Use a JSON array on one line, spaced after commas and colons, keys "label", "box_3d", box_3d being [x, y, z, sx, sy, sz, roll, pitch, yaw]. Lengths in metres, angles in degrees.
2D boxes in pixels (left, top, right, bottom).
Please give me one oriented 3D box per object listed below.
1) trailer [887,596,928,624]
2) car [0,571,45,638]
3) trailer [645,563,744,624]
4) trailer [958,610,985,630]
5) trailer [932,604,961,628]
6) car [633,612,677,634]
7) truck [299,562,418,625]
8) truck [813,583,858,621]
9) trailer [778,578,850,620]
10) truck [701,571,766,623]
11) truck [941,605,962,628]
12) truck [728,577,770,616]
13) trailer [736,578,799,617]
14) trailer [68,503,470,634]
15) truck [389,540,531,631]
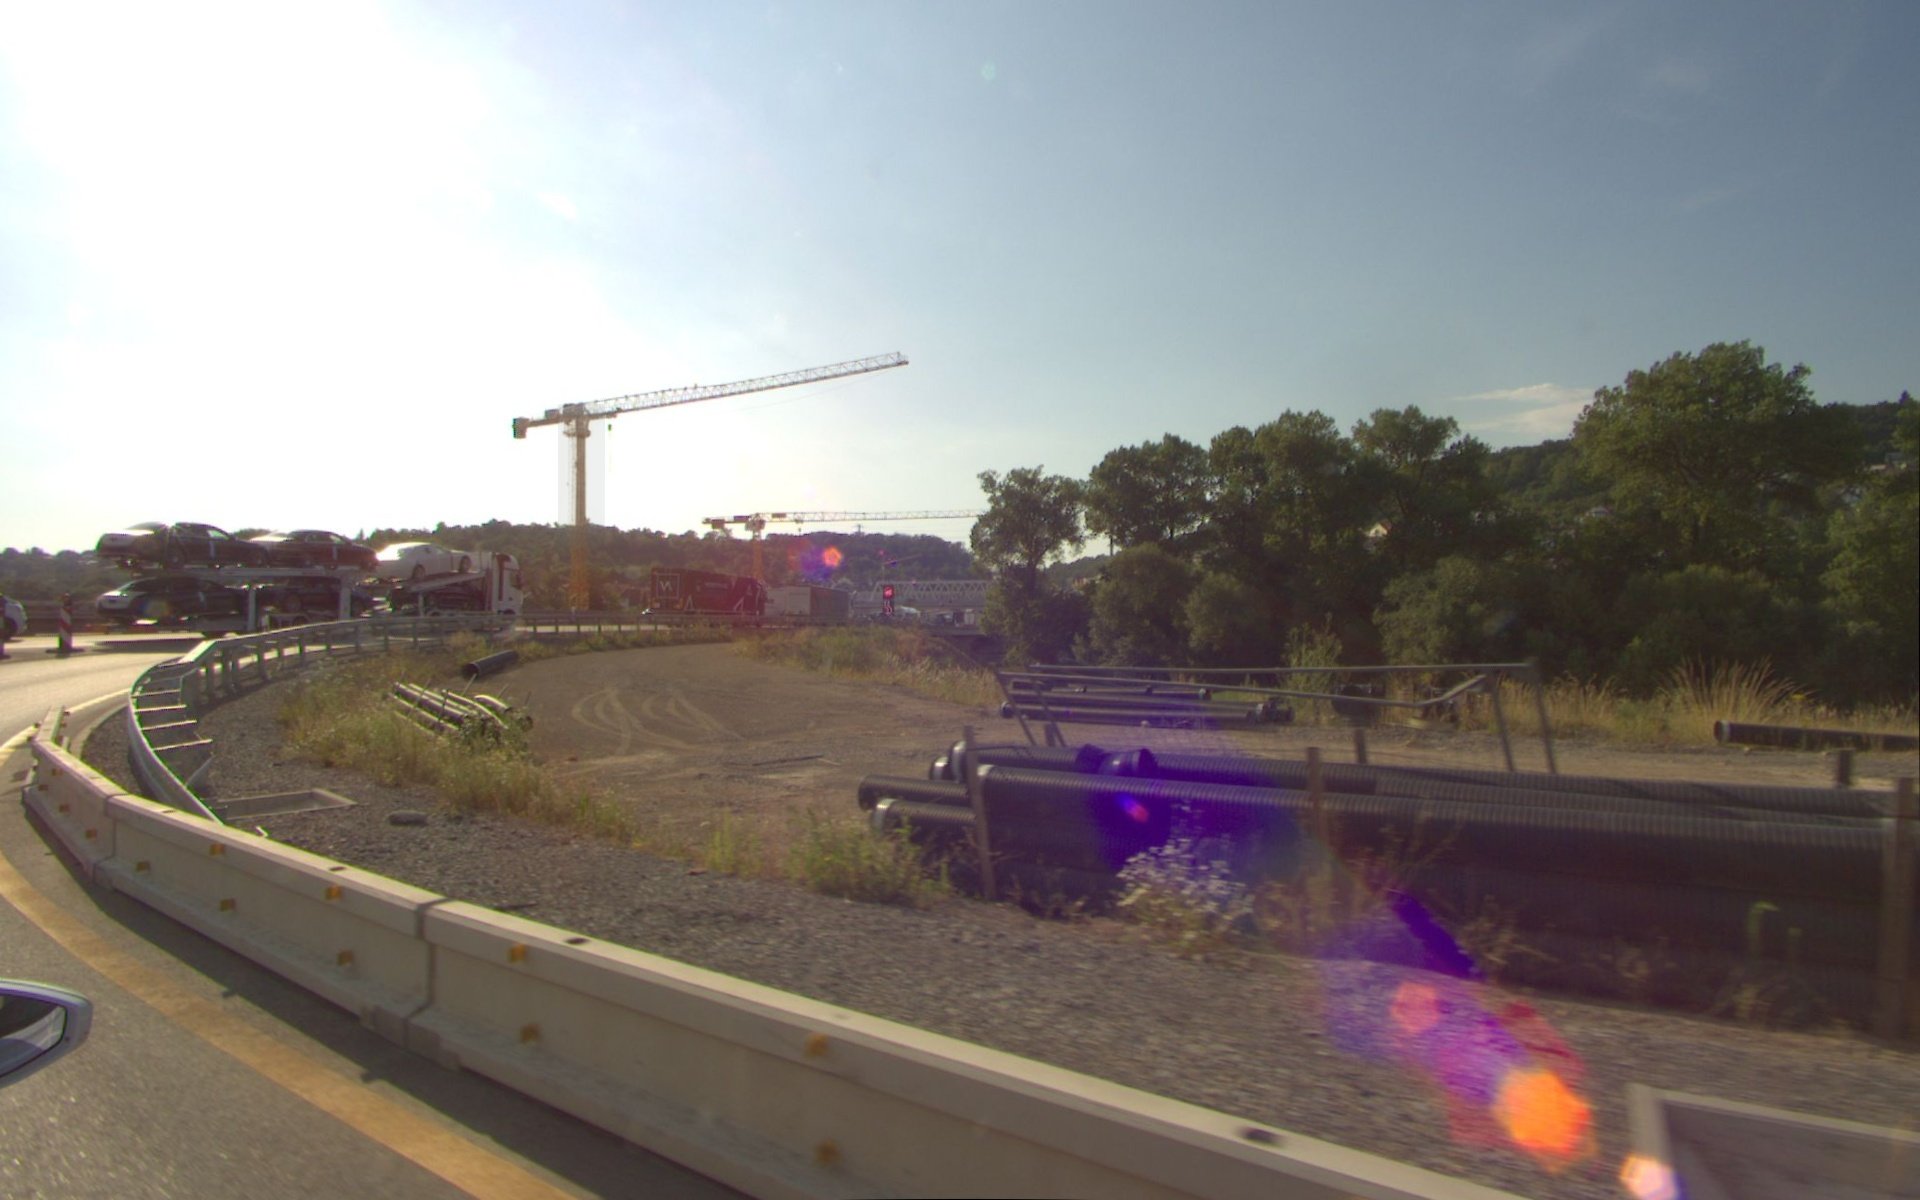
[{"label": "trailer", "box_3d": [-7.703, 1.587, 149.767, 3.330, 4.048, 14.744, 0, -1, 8]}, {"label": "car", "box_3d": [-30.095, 0.077, 29.108, 1.996, 2.007, 4.978, 2, 0, 9]}, {"label": "trailer", "box_3d": [-19.509, -0.312, 74.539, 2.912, 4.144, 10.792, 0, -1, 10]}, {"label": "trailer", "box_3d": [2.689, 4.592, 224.940, 4.031, 4.369, 14.251, 0, -1, 8]}, {"label": "trailer", "box_3d": [-2.422, 3.091, 187.150, 3.054, 4.369, 14.251, 0, -1, 8]}, {"label": "car", "box_3d": [-23.837, 1.817, 78.383, 1.800, 1.675, 4.000, -1, -1, 6]}, {"label": "truck", "box_3d": [-32.121, -0.245, 53.718, 2.107, 3.174, 5.684, -1, -1, 14]}, {"label": "truck", "box_3d": [-13.805, 0.233, 111.566, 3.289, 4.048, 6.624, 0, -1, 8]}, {"label": "trailer", "box_3d": [-14.924, 0.044, 103.963, 3.330, 4.048, 14.744, 0, -1, 8]}, {"label": "truck", "box_3d": [-18.332, -0.132, 81.603, 2.839, 4.048, 6.623, 0, -1, 10]}, {"label": "truck", "box_3d": [-1.522, 3.215, 193.306, 3.048, 4.341, 6.624, 0, -1, 8]}, {"label": "truck", "box_3d": [-23.416, -0.341, 111.369, 2.586, 4.119, 6.129, -1, -1, 9]}, {"label": "trailer", "box_3d": [-22.418, -0.135, 117.660, 2.586, 4.118, 14.078, -1, -1, 9]}, {"label": "trailer", "box_3d": [-25.199, -0.787, 38.741, 2.811, 4.048, 15.745, 0, -1, 8]}, {"label": "truck", "box_3d": [-23.821, -0.591, 48.177, 2.803, 4.048, 6.624, 0, -1, 8]}]
